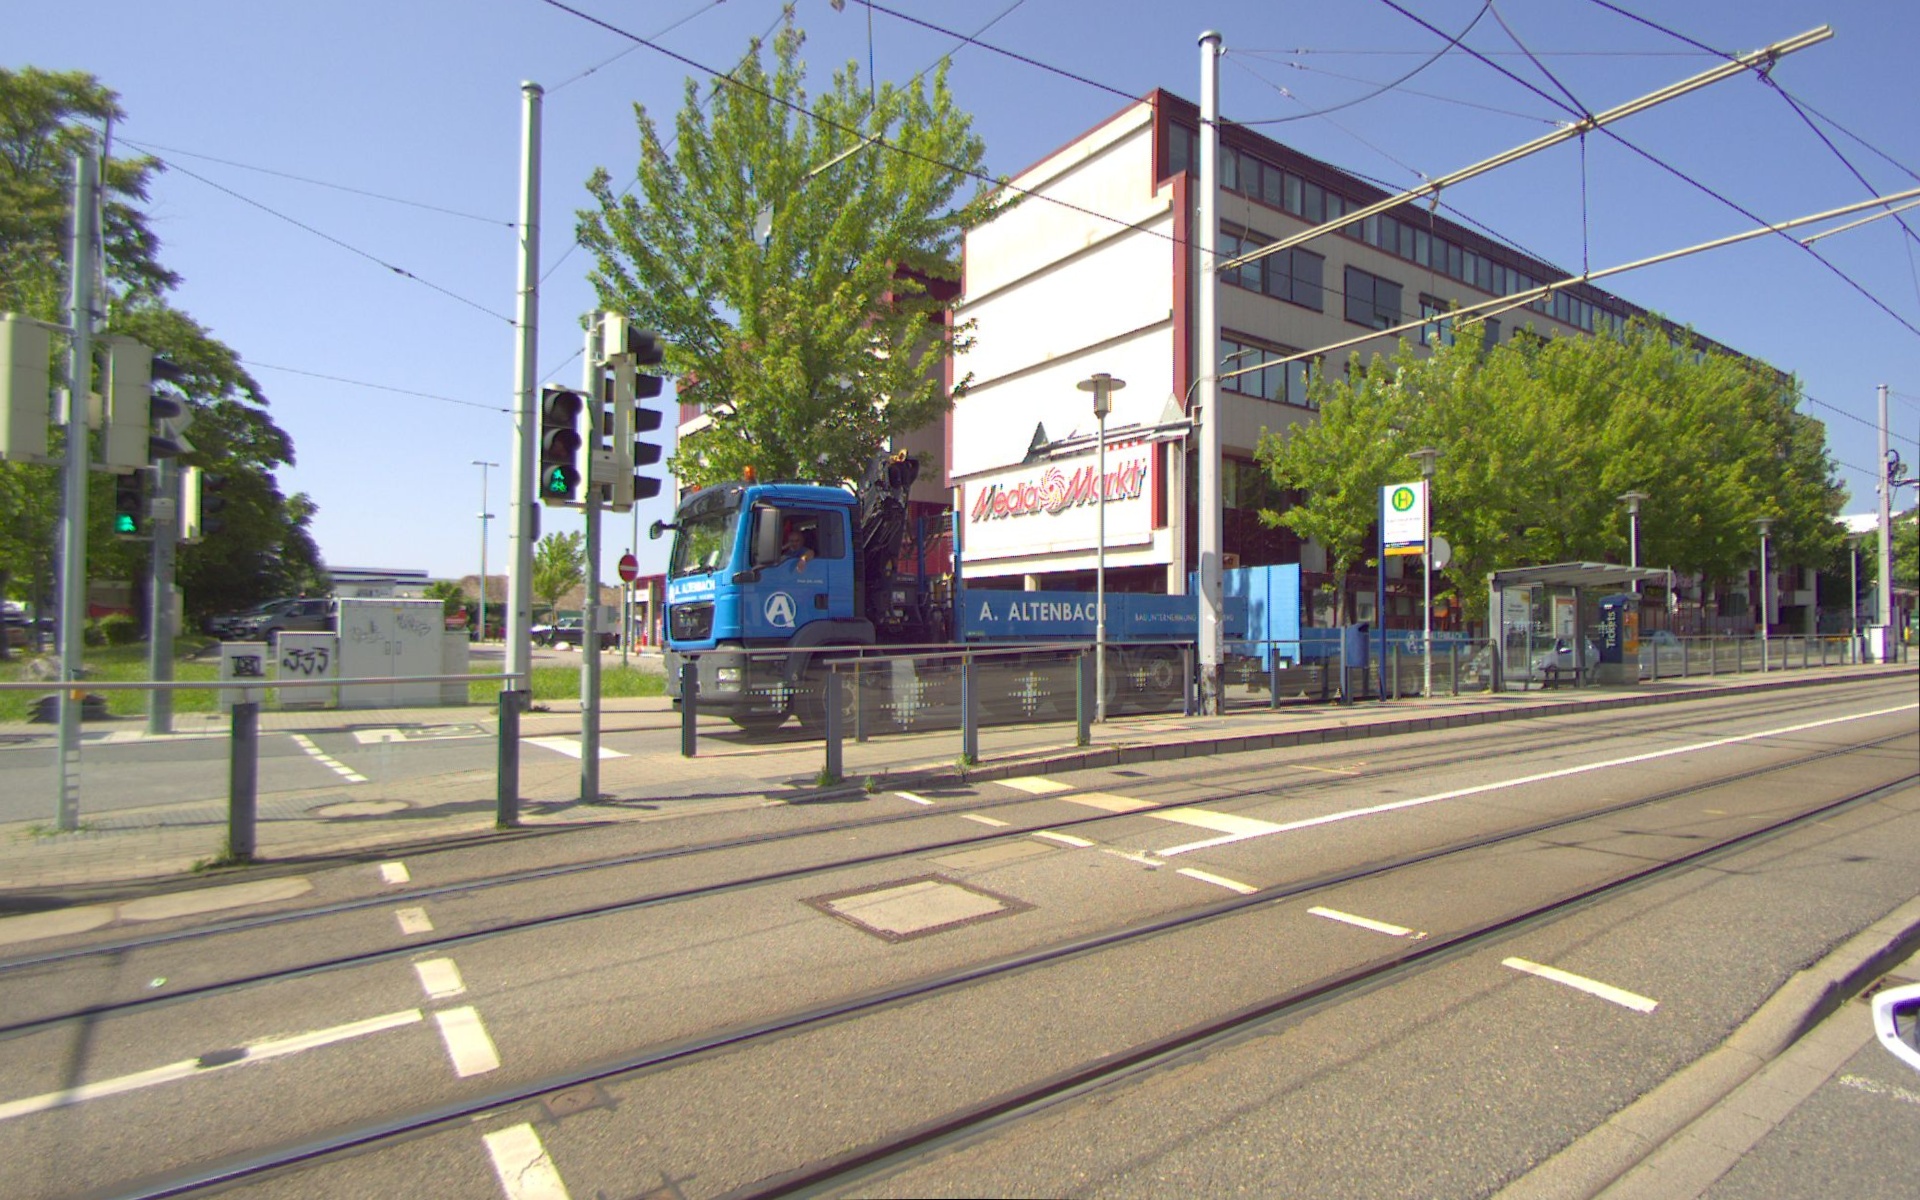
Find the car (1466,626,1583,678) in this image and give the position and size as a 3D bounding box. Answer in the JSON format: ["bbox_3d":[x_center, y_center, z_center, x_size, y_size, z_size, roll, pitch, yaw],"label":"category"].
[{"bbox_3d":[17.753,1.600,31.527,3.865,1.483,1.711,1,0,-35],"label":"car"}]

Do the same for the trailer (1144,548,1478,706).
[{"bbox_3d":[7.327,0.543,20.414,7.532,2.663,2.776,1,-2,-38],"label":"trailer"}]

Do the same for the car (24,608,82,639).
[{"bbox_3d":[-47.419,1.230,52.594,1.798,1.535,3.960,-1,-1,-36],"label":"car"}]

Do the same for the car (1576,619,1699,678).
[{"bbox_3d":[19.876,1.407,29.410,4.033,1.604,1.711,1,-4,-37],"label":"car"}]

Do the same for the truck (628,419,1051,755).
[{"bbox_3d":[-1.548,-0.076,13.545,4.992,3.656,2.724,1,-2,-37],"label":"truck"}]

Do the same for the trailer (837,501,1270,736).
[{"bbox_3d":[1.689,0.312,16.013,6.834,3.017,2.724,1,-2,-37],"label":"trailer"}]

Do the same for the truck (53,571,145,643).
[{"bbox_3d":[-54.145,0.513,63.441,3.321,4.198,9.190,-1,-1,-34],"label":"truck"}]

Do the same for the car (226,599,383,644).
[{"bbox_3d":[-21.354,0.680,32.858,1.689,1.356,3.978,-1,0,34],"label":"car"}]

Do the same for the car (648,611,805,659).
[{"bbox_3d":[-7.837,1.164,33.965,4.771,1.512,1.920,1,-1,7],"label":"car"}]

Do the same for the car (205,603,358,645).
[{"bbox_3d":[-26.594,0.901,39.582,1.817,1.512,4.814,-1,0,22],"label":"car"}]

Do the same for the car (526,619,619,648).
[{"bbox_3d":[-20.182,1.720,52.380,4.154,1.471,1.724,0,-1,8],"label":"car"}]

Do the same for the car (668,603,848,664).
[{"bbox_3d":[-6.150,1.065,31.050,5.014,1.615,2.188,2,-3,2],"label":"car"}]

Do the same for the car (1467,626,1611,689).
[{"bbox_3d":[15.131,1.463,26.168,4.240,1.491,1.711,1,-3,-37],"label":"car"}]

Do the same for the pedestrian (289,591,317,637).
[{"bbox_3d":[-22.283,0.486,34.072,0.555,1.547,0.755,0,-1,-13],"label":"pedestrian"}]

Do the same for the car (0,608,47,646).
[{"bbox_3d":[-40.696,1.166,43.080,1.798,1.535,3.960,-1,-1,-36],"label":"car"}]

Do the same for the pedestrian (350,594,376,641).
[{"bbox_3d":[-19.656,0.582,33.067,0.555,1.547,0.754,0,-1,-16],"label":"pedestrian"}]
